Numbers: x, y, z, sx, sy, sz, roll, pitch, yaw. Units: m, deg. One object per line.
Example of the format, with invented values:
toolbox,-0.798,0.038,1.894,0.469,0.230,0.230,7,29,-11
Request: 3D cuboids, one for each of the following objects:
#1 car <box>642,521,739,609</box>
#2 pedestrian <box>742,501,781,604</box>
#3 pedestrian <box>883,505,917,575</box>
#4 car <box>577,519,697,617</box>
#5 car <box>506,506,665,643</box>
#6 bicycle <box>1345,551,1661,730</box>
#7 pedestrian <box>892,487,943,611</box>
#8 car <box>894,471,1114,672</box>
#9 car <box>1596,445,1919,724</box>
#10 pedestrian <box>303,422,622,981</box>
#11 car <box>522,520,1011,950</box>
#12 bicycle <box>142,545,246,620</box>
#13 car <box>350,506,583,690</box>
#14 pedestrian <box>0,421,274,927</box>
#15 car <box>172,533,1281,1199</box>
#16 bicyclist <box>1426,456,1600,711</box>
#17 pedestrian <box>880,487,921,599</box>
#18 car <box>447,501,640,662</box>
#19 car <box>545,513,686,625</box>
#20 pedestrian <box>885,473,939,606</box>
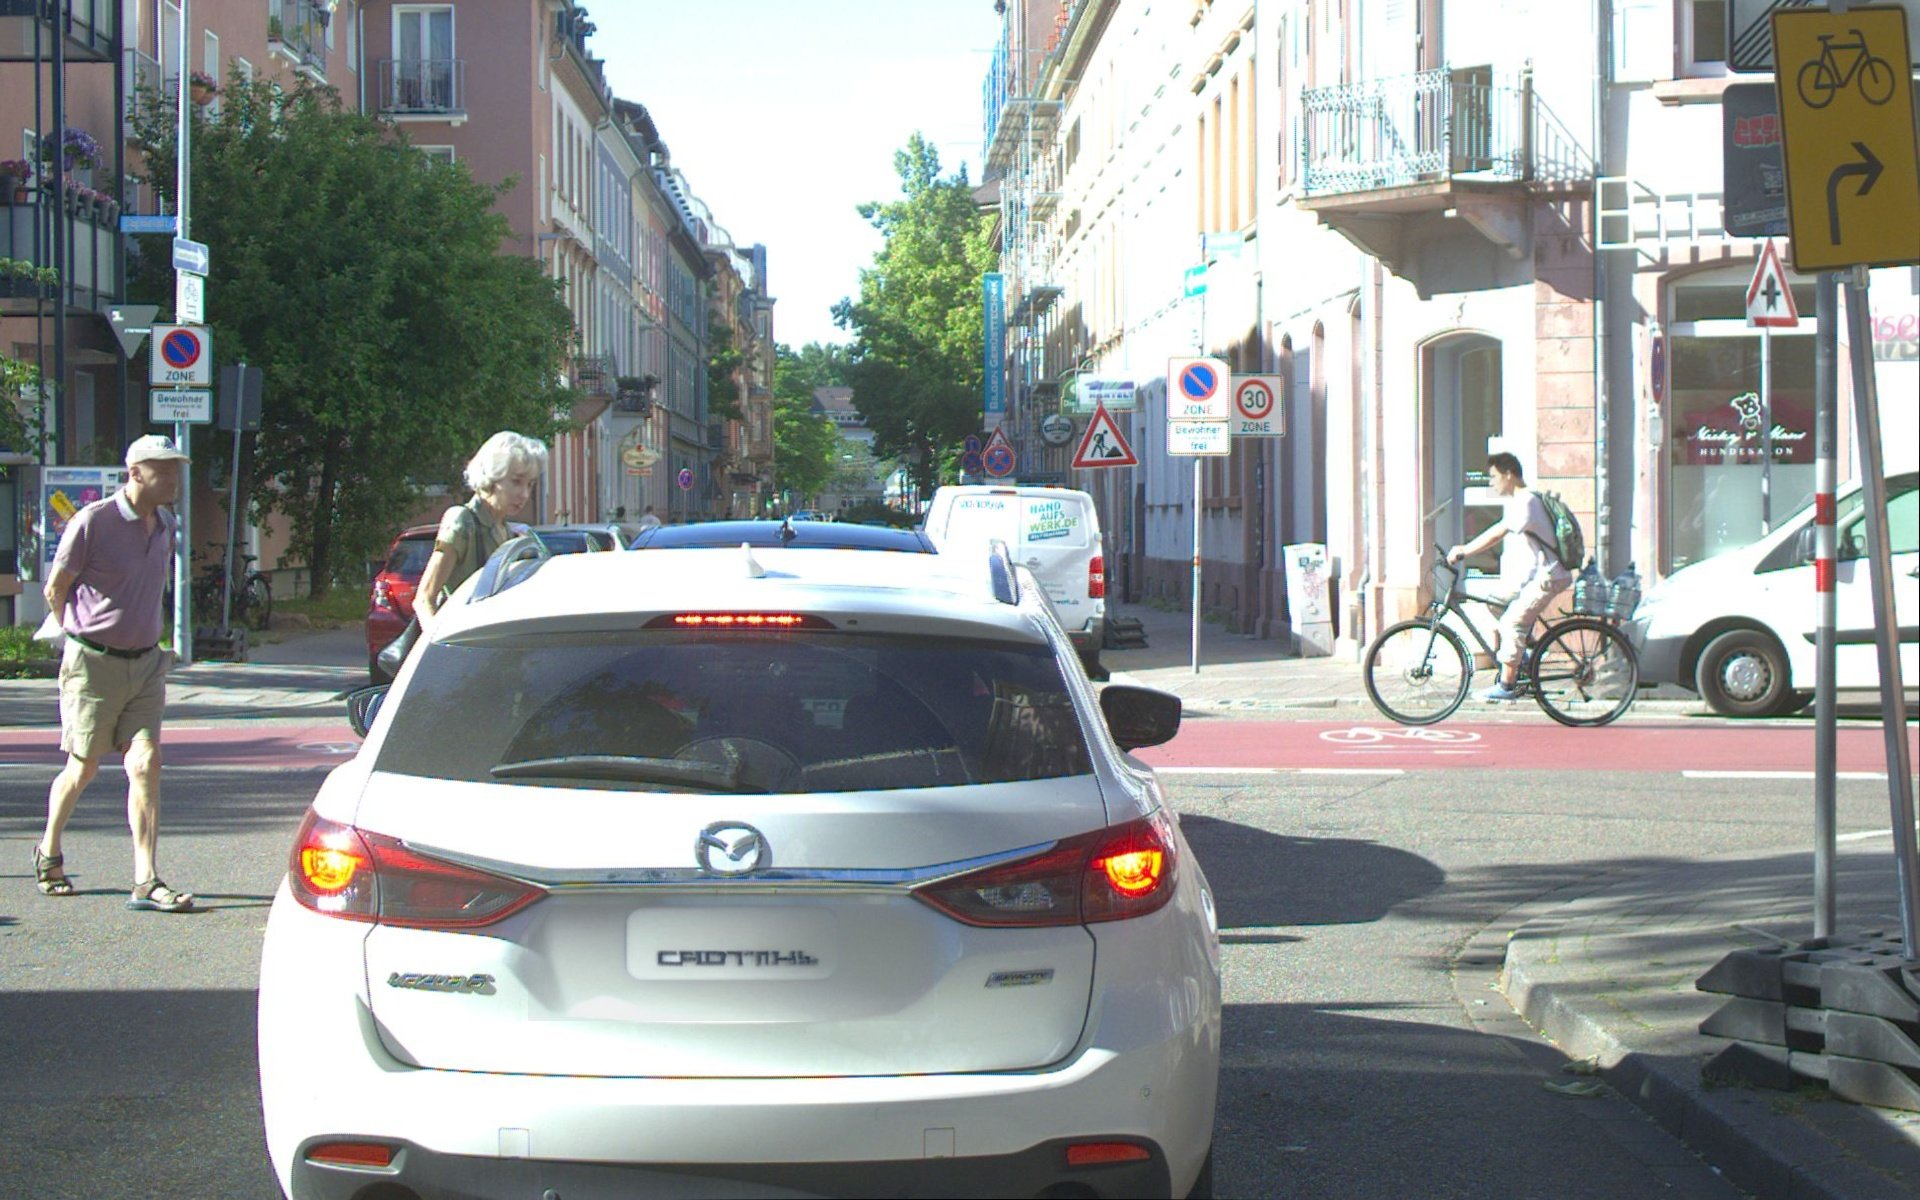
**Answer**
car,-5.042,-0.663,64.622,1.572,1.580,3.611,0,1,-1
pedestrian,-3.468,-0.825,60.128,0.647,1.791,0.639,0,1,-1
pedestrian,-1.396,-1.395,80.359,0.771,1.621,0.835,0,1,-1
car,-5.067,-0.510,54.311,1.602,1.472,3.567,0,1,-1
car,-4.699,-0.335,43.517,1.635,1.650,3.785,0,1,-1
bicycle,3.561,0.260,22.504,2.009,1.140,0.683,0,1,12
pedestrian,-0.658,-0.799,53.583,0.771,1.912,0.835,0,1,-1
car,0.396,-0.322,35.709,1.942,1.941,4.079,1,1,-4
car,7.193,-0.091,24.508,4.895,1.922,1.997,1,-1,23
pedestrian,-1.655,0.313,11.559,0.853,1.808,0.815,0,3,6
car,-0.736,0.426,13.738,1.682,1.476,3.661,0,1,-2
bicycle,-9.724,-0.228,43.603,0.603,0.929,1.915,-1,1,-34
car,-4.591,-0.069,32.406,1.769,1.583,3.727,0,2,-2
pedestrian,-3.186,0.244,12.986,0.968,1.832,0.681,2,3,34
car,-0.456,0.620,7.599,1.823,1.509,3.824,0,1,-2
bicyclist,3.623,-0.108,22.513,1.091,1.638,0.756,0,1,10
pedestrian,-1.137,-1.091,65.672,0.771,2.111,0.835,0,1,-1
car,-4.549,-0.232,38.005,1.720,1.677,3.726,0,1,-1
car,-4.998,-0.459,50.299,1.720,1.571,3.726,0,1,-1
pedestrian,-0.700,-0.879,50.203,0.771,1.912,0.835,0,1,-1
